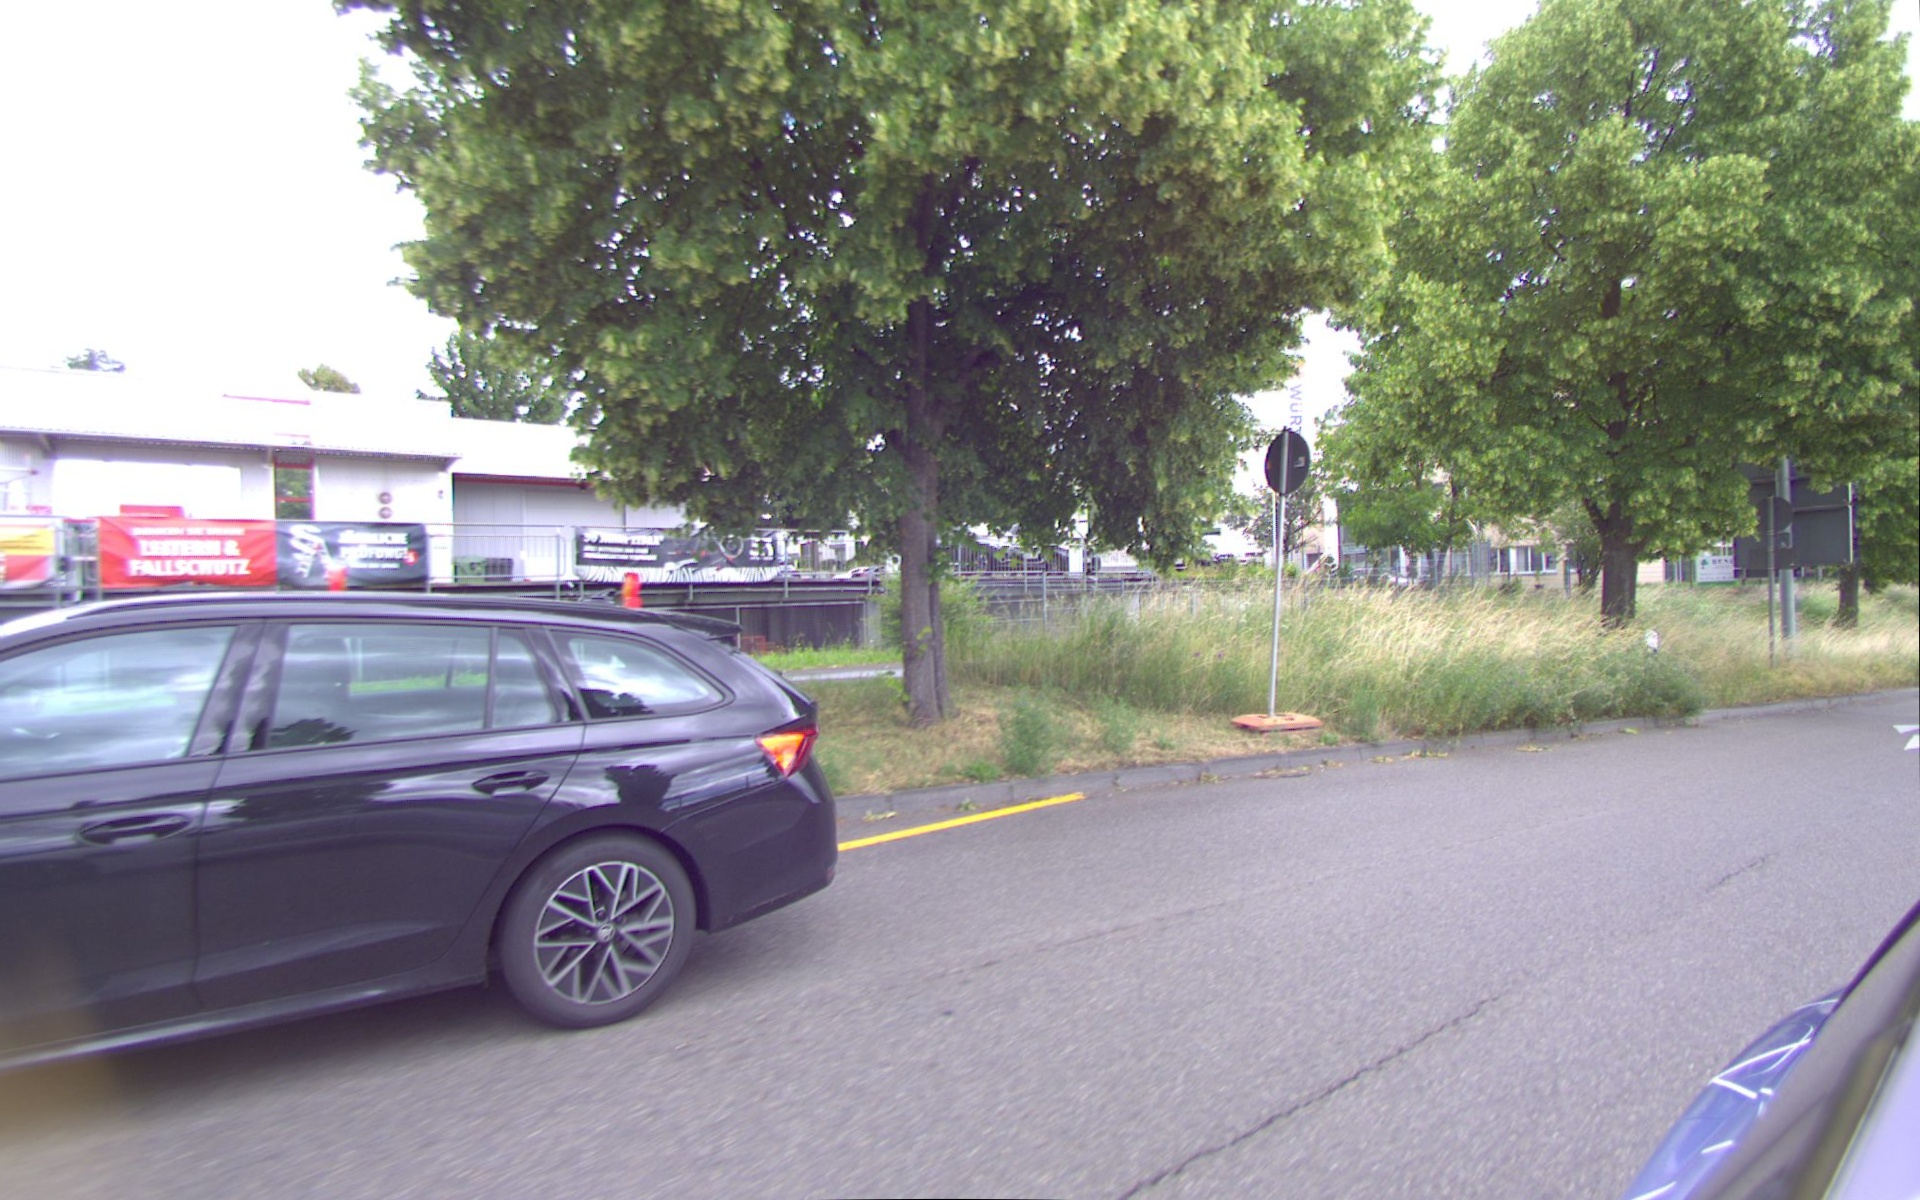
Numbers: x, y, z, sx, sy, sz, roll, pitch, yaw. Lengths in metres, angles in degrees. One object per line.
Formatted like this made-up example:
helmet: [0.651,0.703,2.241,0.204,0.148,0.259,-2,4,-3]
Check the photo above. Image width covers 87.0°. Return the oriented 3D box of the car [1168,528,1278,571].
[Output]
car: [9.997,-1.883,38.708,1.721,1.501,3.940,0,1,-34]

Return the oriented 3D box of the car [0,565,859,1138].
car: [-2.645,0.618,3.514,4.195,1.450,1.843,0,1,-34]

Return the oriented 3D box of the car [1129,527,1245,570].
car: [8.090,-1.809,36.346,1.721,1.385,3.940,0,1,-34]

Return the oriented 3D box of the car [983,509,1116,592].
car: [2.370,-1.261,27.603,1.611,1.984,3.767,2,-2,-34]

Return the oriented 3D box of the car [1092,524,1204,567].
car: [6.502,-1.857,35.309,1.721,1.381,3.769,0,1,-34]
